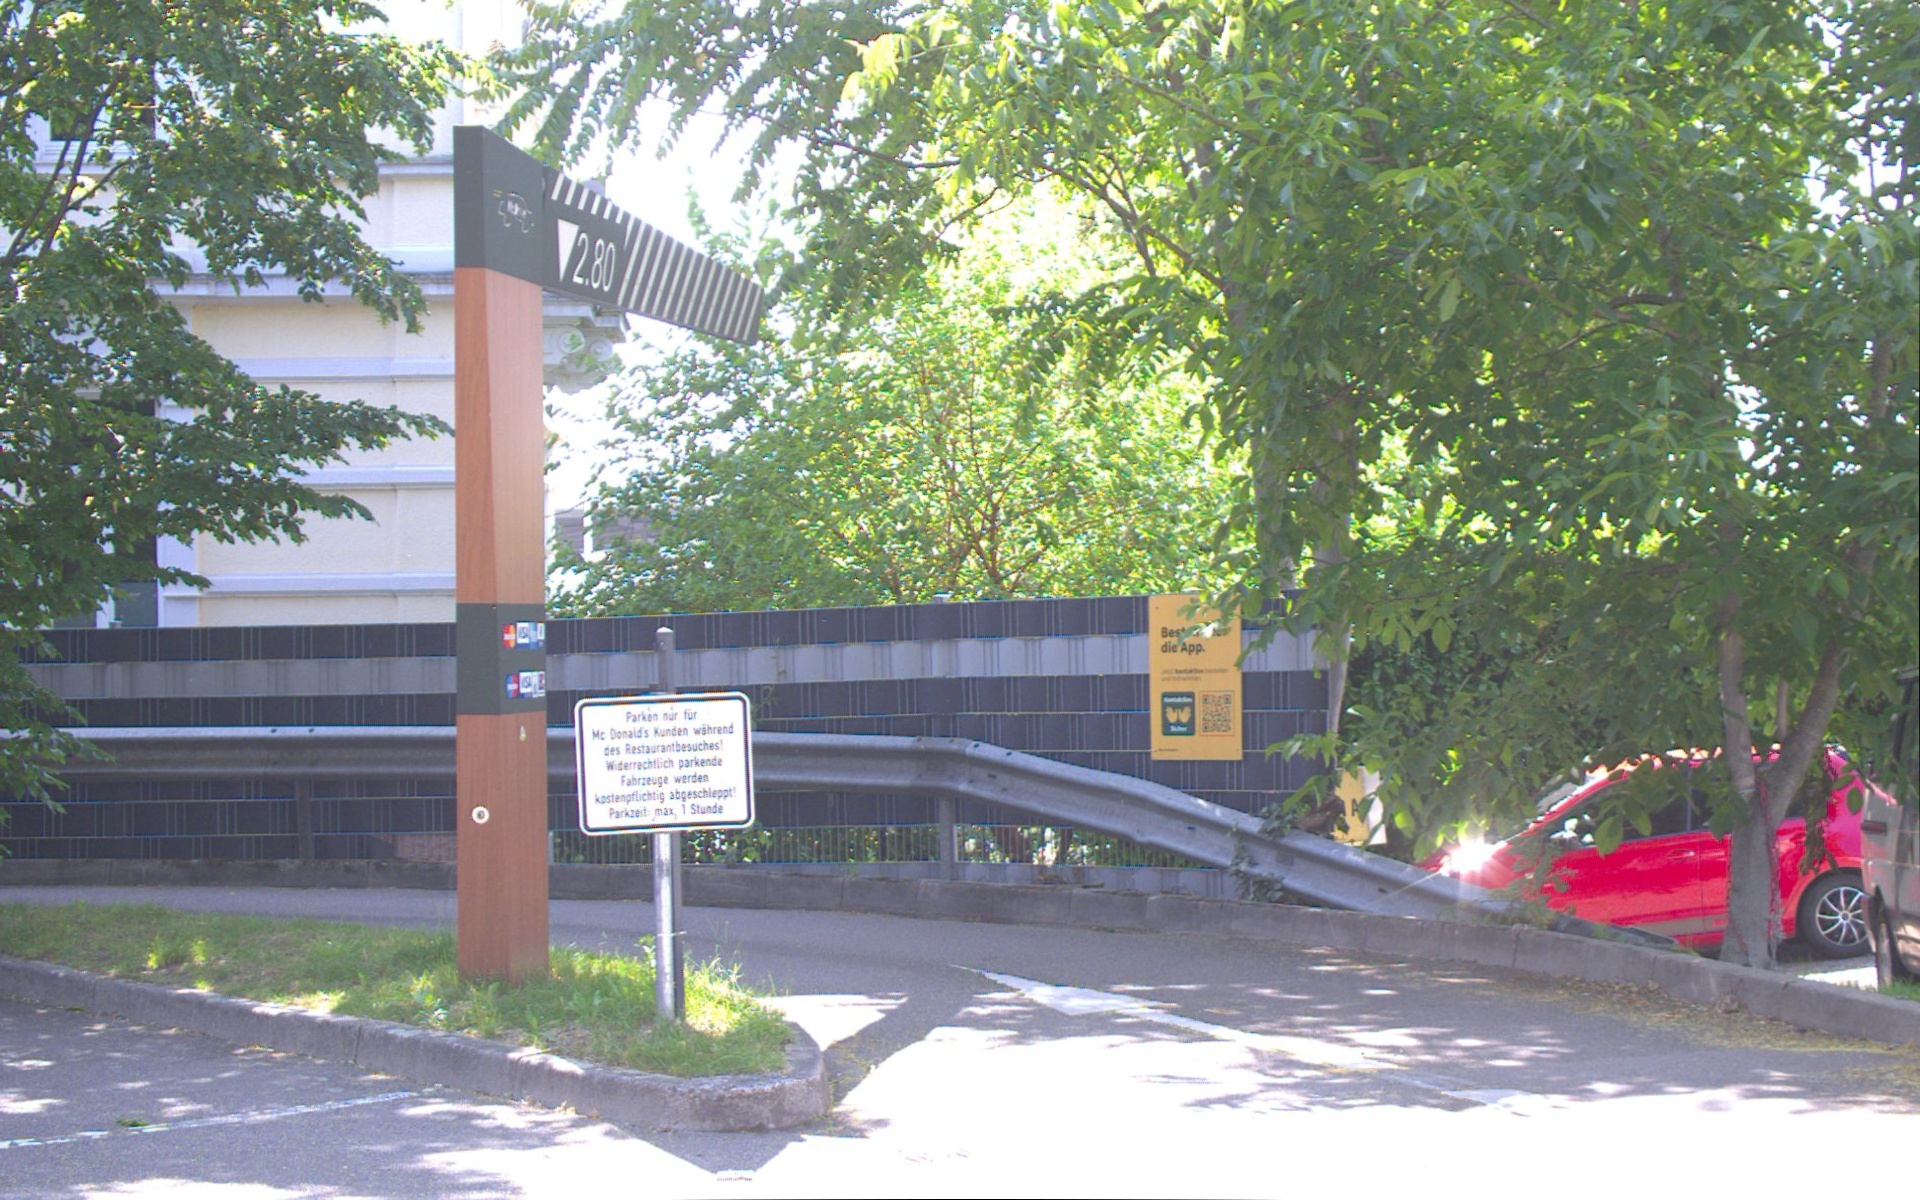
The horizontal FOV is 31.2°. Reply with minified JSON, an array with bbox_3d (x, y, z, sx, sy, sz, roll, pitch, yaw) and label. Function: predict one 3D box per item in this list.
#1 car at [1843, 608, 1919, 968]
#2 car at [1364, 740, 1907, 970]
[{"bbox_3d":[5.382,0.843,16.093,1.952,1.578,5.029,0,0,9],"label":"car"},{"bbox_3d":[4.583,1.726,23.612,3.403,1.374,1.486,-1,1,0],"label":"car"}]
